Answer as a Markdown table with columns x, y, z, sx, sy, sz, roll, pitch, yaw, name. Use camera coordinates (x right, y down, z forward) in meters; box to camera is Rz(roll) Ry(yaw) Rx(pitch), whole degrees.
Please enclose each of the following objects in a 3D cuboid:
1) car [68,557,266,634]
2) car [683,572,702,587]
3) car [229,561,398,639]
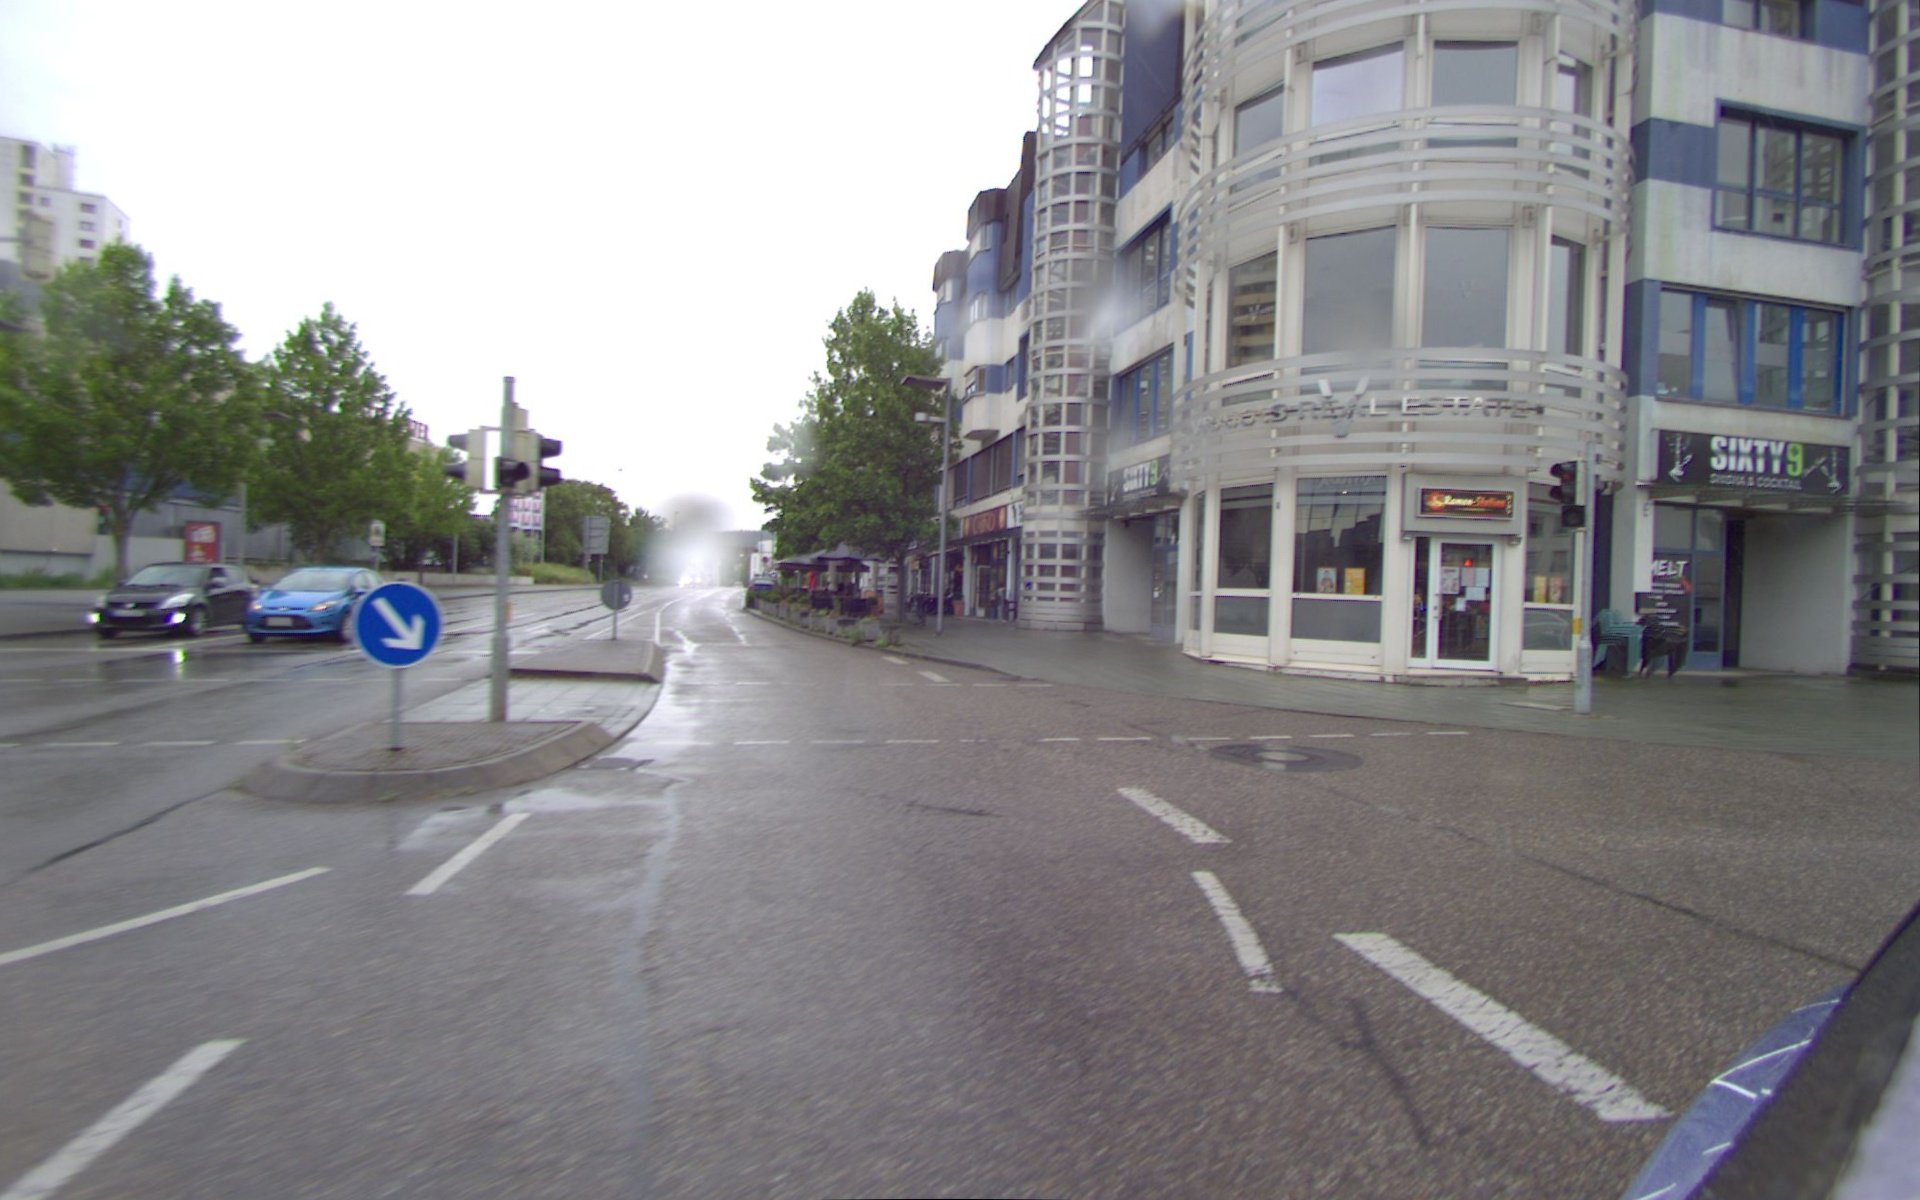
| x | y | z | sx | sy | sz | roll | pitch | yaw | name |
| --- | --- | --- | --- | --- | --- | --- | --- | --- | --- |
| -16.077 | -0.143 | 20.753 | 1.708 | 1.412 | 3.705 | 1 | 2 | -11 | car |
| -33.728 | -2.555 | 127.891 | 1.959 | 1.798 | 4.006 | 1 | -1 | -10 | car |
| -12.931 | -0.060 | 20.519 | 1.644 | 1.414 | 3.864 | 1 | 2 | -12 | car |
